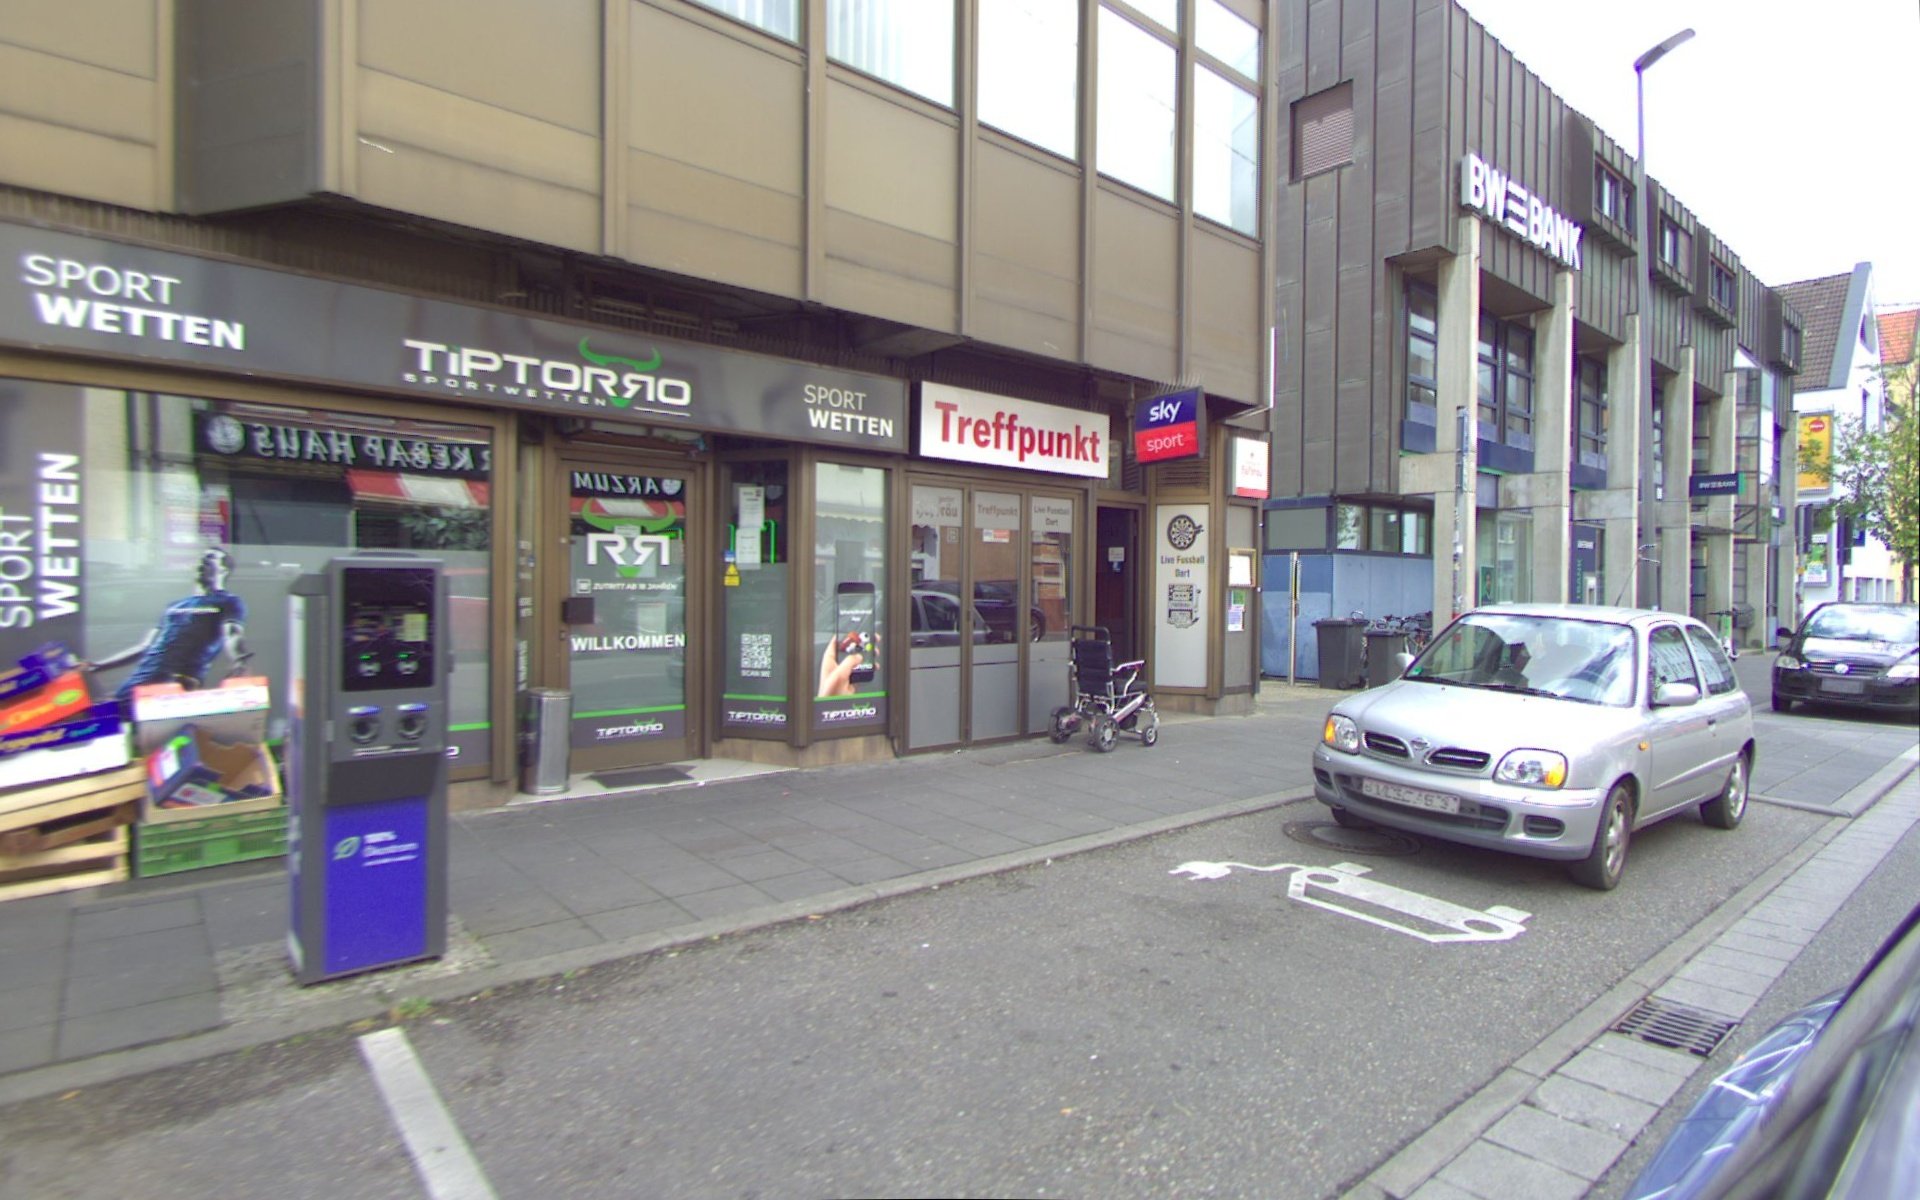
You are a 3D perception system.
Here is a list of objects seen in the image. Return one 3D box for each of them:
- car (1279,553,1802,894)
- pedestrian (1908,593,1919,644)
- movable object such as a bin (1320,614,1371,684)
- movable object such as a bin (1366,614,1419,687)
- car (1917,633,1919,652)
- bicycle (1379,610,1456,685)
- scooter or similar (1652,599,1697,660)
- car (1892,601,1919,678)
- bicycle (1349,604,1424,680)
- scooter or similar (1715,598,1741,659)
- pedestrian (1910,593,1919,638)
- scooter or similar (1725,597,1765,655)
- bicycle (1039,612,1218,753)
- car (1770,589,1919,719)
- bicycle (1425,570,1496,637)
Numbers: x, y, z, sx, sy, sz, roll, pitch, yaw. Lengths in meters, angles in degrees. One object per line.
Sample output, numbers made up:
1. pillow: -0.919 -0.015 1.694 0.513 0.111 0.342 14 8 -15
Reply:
1. car: 3.849 0.555 6.474 3.726 1.513 1.614 0 4 -40
2. pedestrian: 35.374 0.660 37.278 0.566 1.864 0.589 0 -1 -40
3. movable object such as a bin: 5.761 0.715 15.117 0.543 1.012 0.488 0 0 -38
4. movable object such as a bin: 6.217 0.709 14.551 0.543 1.012 0.488 0 0 -38
5. car: 25.417 0.571 25.118 4.349 1.594 1.727 0 7 -39
6. bicycle: 7.044 0.714 15.570 1.474 1.095 0.426 1 1 -39
7. scooter or similar: 15.320 0.610 21.681 1.534 1.261 0.422 0 0 -41
8. car: 21.234 0.792 21.397 4.036 1.512 1.724 -1 0 -40
9. bicycle: 6.696 0.639 15.876 1.475 1.133 0.426 0 0 -39
10. scooter or similar: 16.571 0.592 21.839 0.404 1.261 1.306 -1 0 39
11. pedestrian: 37.932 0.589 39.773 0.743 1.759 0.742 0 -1 -40
12. scooter or similar: 17.869 0.577 23.019 1.534 1.261 0.422 0 0 -41
13. bicycle: 1.441 0.643 8.545 1.450 1.061 0.721 0 0 -41
14. car: 12.779 0.667 14.062 3.726 1.551 1.613 0 2 -40
15. bicycle: 8.806 0.047 17.781 1.709 1.133 0.426 0 0 -39
